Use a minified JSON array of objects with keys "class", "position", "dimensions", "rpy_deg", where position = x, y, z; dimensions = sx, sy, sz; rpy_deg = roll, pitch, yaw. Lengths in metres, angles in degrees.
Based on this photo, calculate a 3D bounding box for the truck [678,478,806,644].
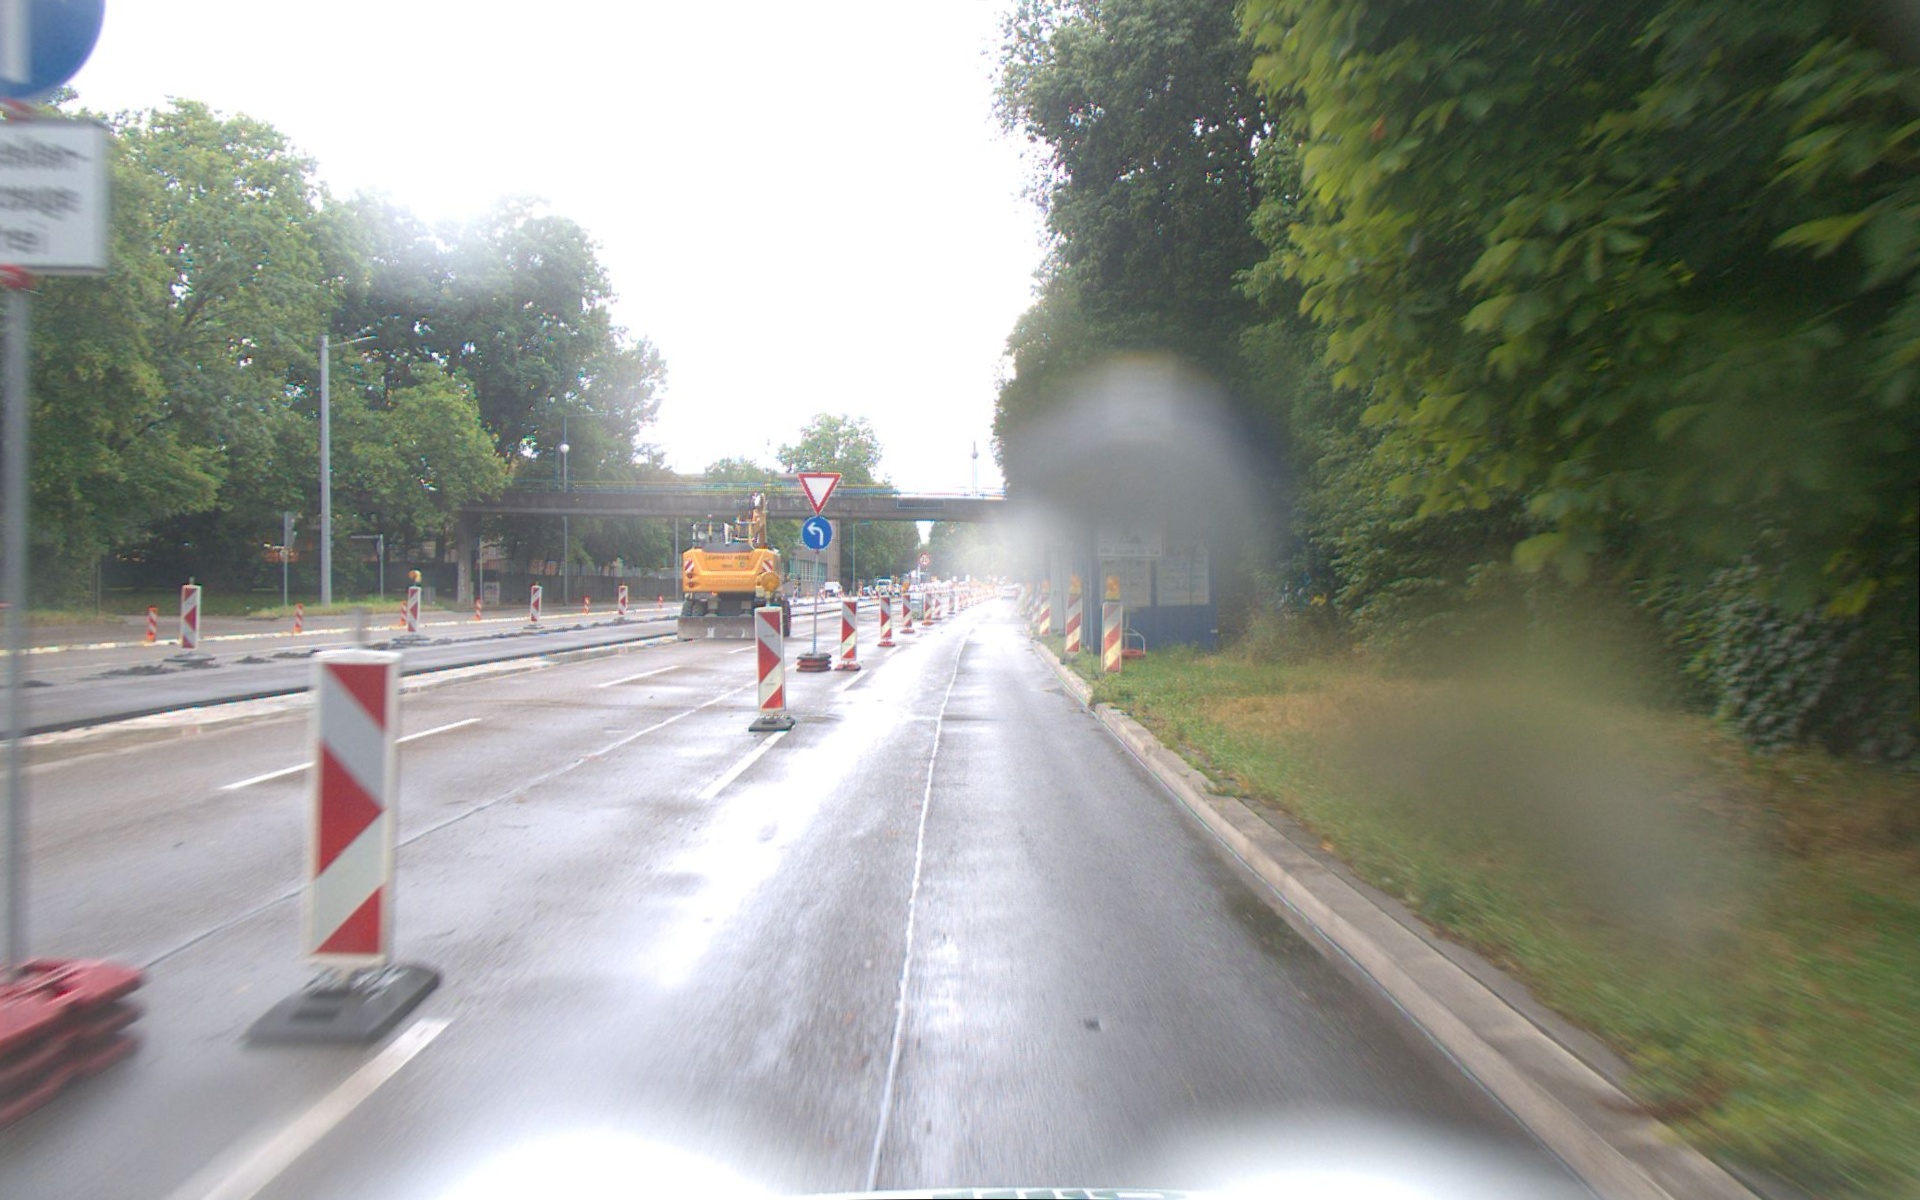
[{"class":"truck","position":[-6.299,-1.065,49.324],"dimensions":[2.840,4.333,10.749],"rpy_deg":[1,0,-3]}]

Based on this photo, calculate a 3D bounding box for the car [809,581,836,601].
[{"class":"car","position":[-13.000,-0.854,156.435],"dimensions":[1.930,1.837,4.609],"rpy_deg":[0,0,3]}]

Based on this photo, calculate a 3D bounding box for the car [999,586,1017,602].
[{"class":"car","position":[5.360,-0.667,183.954],"dimensions":[1.952,1.668,4.001],"rpy_deg":[0,0,2]}]
